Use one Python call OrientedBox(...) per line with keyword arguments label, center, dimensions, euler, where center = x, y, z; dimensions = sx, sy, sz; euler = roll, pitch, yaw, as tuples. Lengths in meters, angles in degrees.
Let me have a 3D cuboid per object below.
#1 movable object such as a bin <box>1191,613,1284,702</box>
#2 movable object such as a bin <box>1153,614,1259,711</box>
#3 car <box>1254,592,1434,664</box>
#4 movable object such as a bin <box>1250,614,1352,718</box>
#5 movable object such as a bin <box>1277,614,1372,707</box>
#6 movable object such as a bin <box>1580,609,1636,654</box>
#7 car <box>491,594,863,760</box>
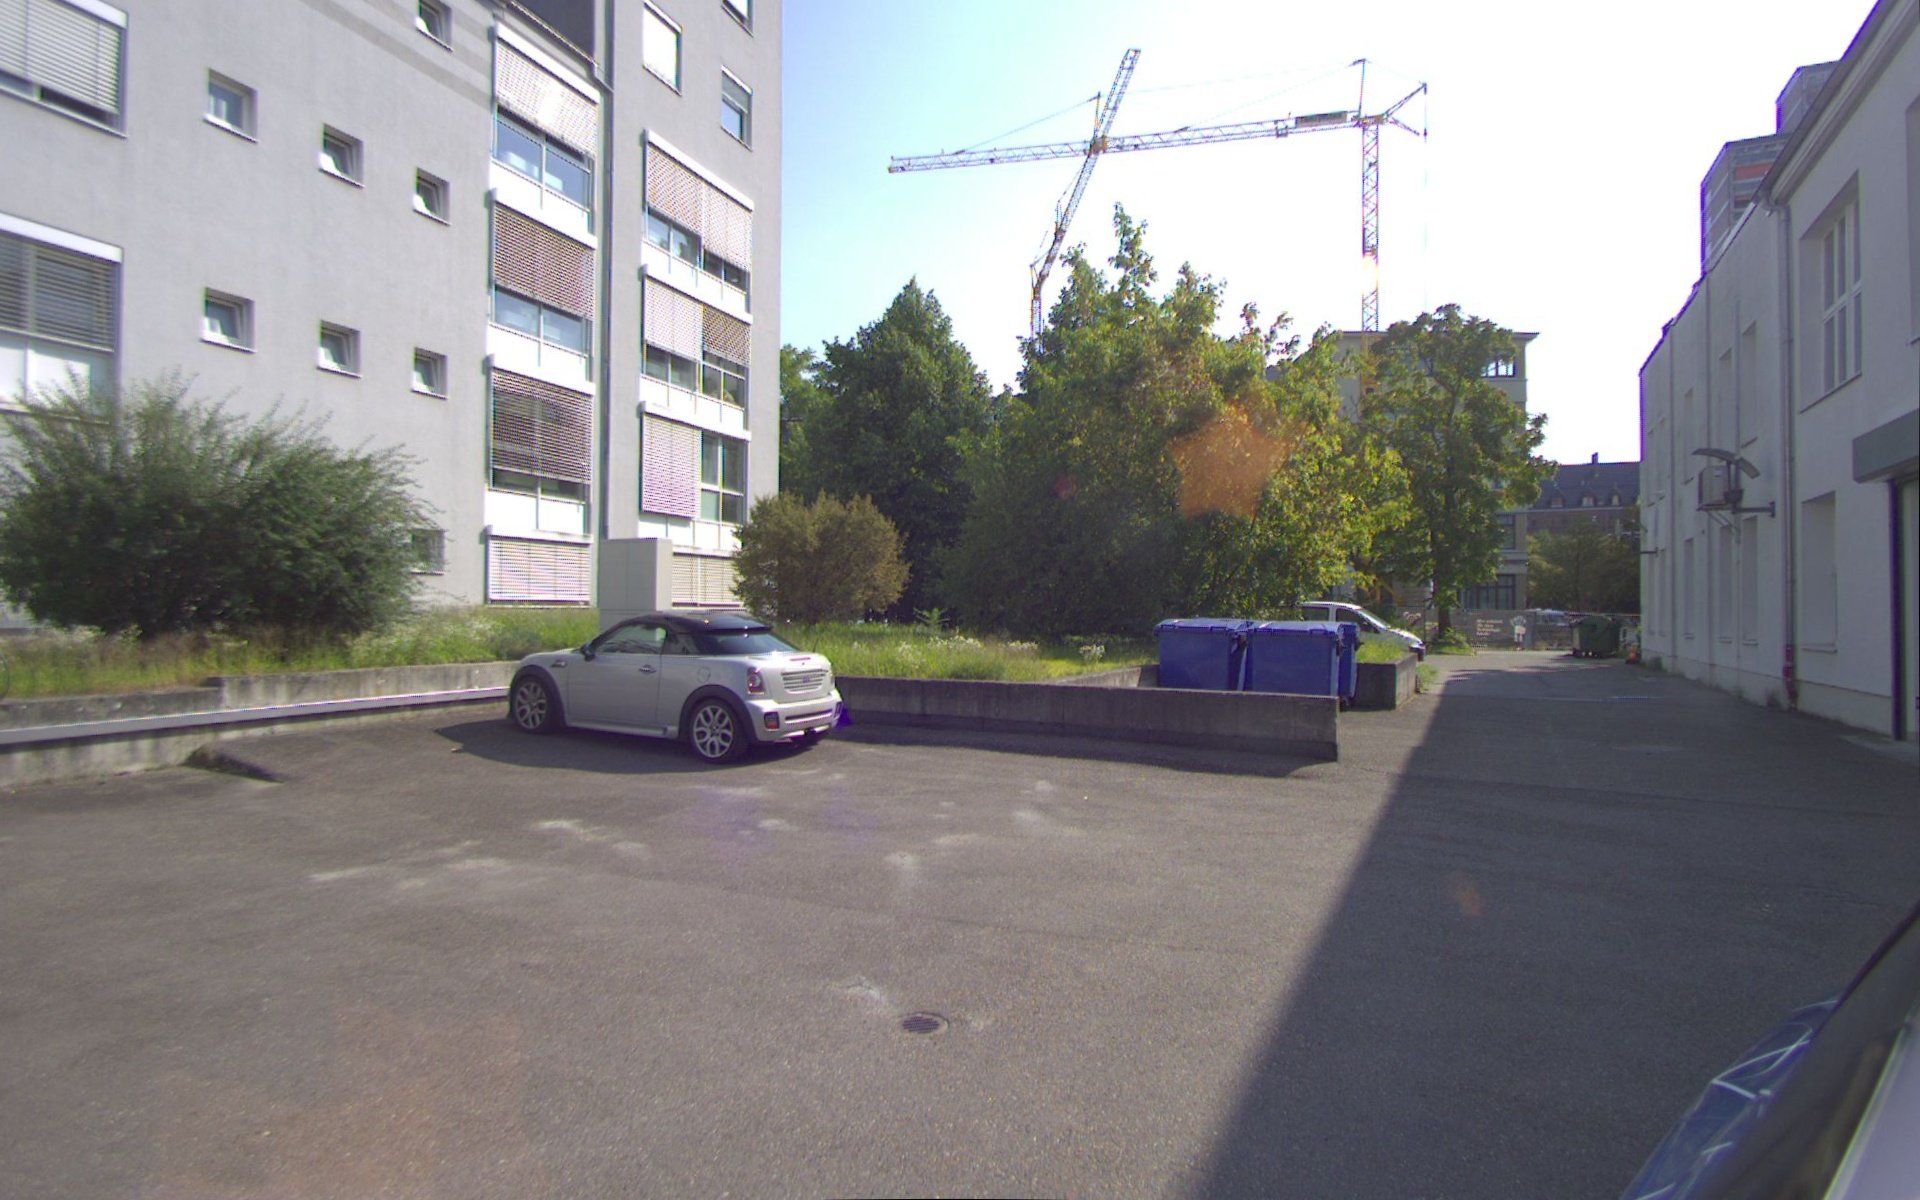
OrientedBox(label="movable object such as a bin", center=(4.447, 0.880, 16.192), dimensions=(1.190, 1.344, 1.262), euler=(0, -1, 29))
OrientedBox(label="movable object such as a bin", center=(3.625, 0.875, 14.855), dimensions=(1.247, 1.344, 1.262), euler=(0, -1, 29))
OrientedBox(label="car", center=(11.288, 0.765, 29.849), dimensions=(4.754, 1.956, 1.888), euler=(0, -1, 31))
OrientedBox(label="movable object such as a bin", center=(4.785, 0.880, 14.163), dimensions=(1.202, 1.368, 1.263), euler=(0, -1, 27))
OrientedBox(label="movable object such as a bin", center=(5.593, 0.890, 15.493), dimensions=(1.190, 1.344, 1.262), euler=(0, -1, 29))
OrientedBox(label="movable object such as a bin", center=(22.074, 1.053, 34.517), dimensions=(1.512, 1.484, 1.262), euler=(0, -1, 29))
OrientedBox(label="car", center=(-2.962, 0.699, 10.572), dimensions=(3.545, 1.456, 1.644), euler=(1, -1, 26))
